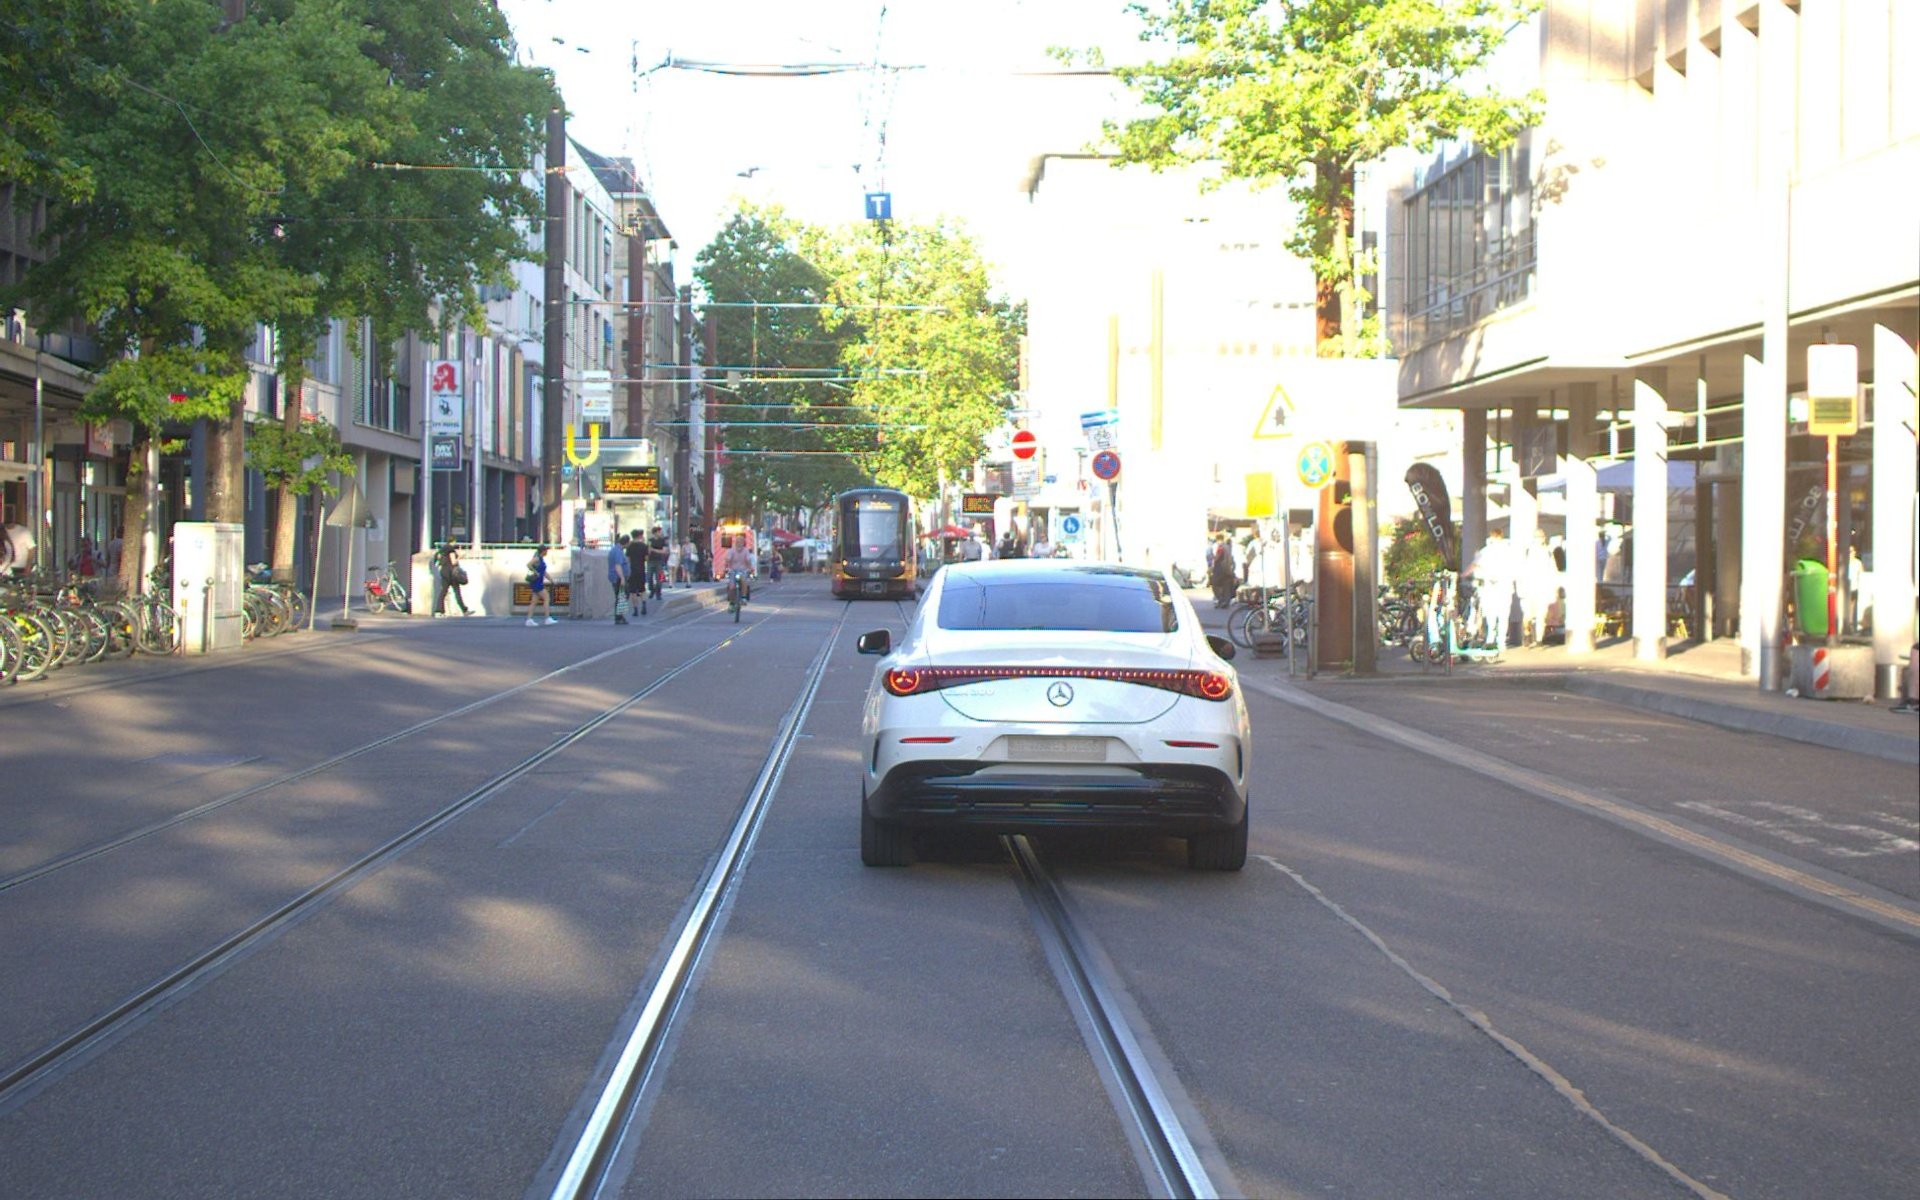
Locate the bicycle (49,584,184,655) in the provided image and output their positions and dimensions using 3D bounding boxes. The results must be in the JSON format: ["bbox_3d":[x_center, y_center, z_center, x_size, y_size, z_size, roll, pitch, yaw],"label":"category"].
[{"bbox_3d":[-9.989,0.231,40.705,1.492,0.780,0.344,2,1,0],"label":"bicycle"}]

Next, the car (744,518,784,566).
[{"bbox_3d":[-10.222,-3.019,179.563,1.910,2.452,5.275,0,1,-1],"label":"car"}]

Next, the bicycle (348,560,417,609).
[{"bbox_3d":[-12.181,-0.334,72.610,0.719,1.006,2.038,1,1,12],"label":"bicycle"}]

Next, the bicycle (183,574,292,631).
[{"bbox_3d":[-10.509,0.034,50.043,1.492,0.780,0.344,2,1,0],"label":"bicycle"}]

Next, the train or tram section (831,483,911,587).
[{"bbox_3d":[-3.163,-2.318,122.974,2.694,3.504,12.546,0,1,-1],"label":"train or tram section"}]

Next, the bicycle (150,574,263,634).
[{"bbox_3d":[-10.644,0.054,48.589,1.492,0.780,0.344,2,1,0],"label":"bicycle"}]

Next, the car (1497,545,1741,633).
[{"bbox_3d":[11.349,-0.194,59.288,3.801,1.468,1.649,0,1,-6],"label":"car"}]

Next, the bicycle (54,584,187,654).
[{"bbox_3d":[-10.093,0.224,41.336,1.492,0.780,0.344,2,1,0],"label":"bicycle"}]

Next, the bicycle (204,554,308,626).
[{"bbox_3d":[-10.534,-0.143,51.437,1.492,1.025,0.345,2,1,-11],"label":"bicycle"}]

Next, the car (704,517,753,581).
[{"bbox_3d":[-10.815,-2.391,160.691,1.993,2.887,5.275,0,1,-1],"label":"car"}]

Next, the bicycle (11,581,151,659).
[{"bbox_3d":[-10.056,0.227,39.340,1.492,0.838,0.344,2,1,0],"label":"bicycle"}]

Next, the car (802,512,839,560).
[{"bbox_3d":[-8.581,-3.948,211.633,2.099,2.887,5.275,0,1,-1],"label":"car"}]

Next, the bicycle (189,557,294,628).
[{"bbox_3d":[-10.658,-0.112,50.997,1.492,1.006,0.345,2,1,-11],"label":"bicycle"}]

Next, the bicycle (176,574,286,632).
[{"bbox_3d":[-10.533,0.046,49.673,1.492,0.780,0.344,2,1,0],"label":"bicycle"}]

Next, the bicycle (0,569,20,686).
[{"bbox_3d":[-9.717,0.230,32.026,1.788,1.073,0.377,2,1,-5],"label":"bicycle"}]

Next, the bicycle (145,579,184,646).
[{"bbox_3d":[-9.798,0.151,42.370,0.343,0.780,1.405,2,1,-9],"label":"bicycle"}]

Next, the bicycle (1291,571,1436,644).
[{"bbox_3d":[6.146,0.110,52.350,2.113,1.092,0.610,0,1,-14],"label":"bicycle"}]

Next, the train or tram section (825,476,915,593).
[{"bbox_3d":[-2.871,-2.095,110.425,2.694,3.504,12.546,0,1,-1],"label":"train or tram section"}]

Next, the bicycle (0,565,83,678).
[{"bbox_3d":[-9.605,0.195,33.765,1.846,1.073,0.377,2,1,-5],"label":"bicycle"}]

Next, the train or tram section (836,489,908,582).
[{"bbox_3d":[-3.445,-2.523,134.812,2.694,3.504,11.144,0,1,-1],"label":"train or tram section"}]

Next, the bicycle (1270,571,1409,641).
[{"bbox_3d":[6.022,0.090,54.547,2.113,1.092,0.610,0,1,-12],"label":"bicycle"}]

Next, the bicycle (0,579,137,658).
[{"bbox_3d":[-10.127,0.203,38.954,1.492,0.838,0.344,2,1,0],"label":"bicycle"}]

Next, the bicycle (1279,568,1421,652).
[{"bbox_3d":[5.567,0.138,49.113,1.907,1.152,0.610,-1,1,-12],"label":"bicycle"}]

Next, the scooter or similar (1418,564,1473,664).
[{"bbox_3d":[6.302,0.175,44.631,0.491,1.273,0.660,-1,1,-12],"label":"scooter or similar"}]

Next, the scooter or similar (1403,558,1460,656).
[{"bbox_3d":[6.258,0.093,45.600,0.527,1.273,0.660,-1,1,-12],"label":"scooter or similar"}]

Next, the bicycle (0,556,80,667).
[{"bbox_3d":[-10.273,0.103,36.266,1.846,1.137,0.377,2,1,0],"label":"bicycle"}]

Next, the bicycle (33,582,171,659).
[{"bbox_3d":[-9.977,0.238,39.986,1.492,0.838,0.344,2,1,0],"label":"bicycle"}]

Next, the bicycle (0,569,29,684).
[{"bbox_3d":[-9.758,0.225,32.484,1.788,1.073,0.377,2,1,-5],"label":"bicycle"}]

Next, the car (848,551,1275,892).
[{"bbox_3d":[0.394,0.512,17.337,1.857,1.450,4.175,2,1,-2],"label":"car"}]

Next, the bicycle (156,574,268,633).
[{"bbox_3d":[-10.647,0.049,48.948,1.492,0.780,0.344,2,1,0],"label":"bicycle"}]

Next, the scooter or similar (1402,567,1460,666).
[{"bbox_3d":[6.174,0.208,45.097,0.527,1.273,0.660,-1,1,-12],"label":"scooter or similar"}]
